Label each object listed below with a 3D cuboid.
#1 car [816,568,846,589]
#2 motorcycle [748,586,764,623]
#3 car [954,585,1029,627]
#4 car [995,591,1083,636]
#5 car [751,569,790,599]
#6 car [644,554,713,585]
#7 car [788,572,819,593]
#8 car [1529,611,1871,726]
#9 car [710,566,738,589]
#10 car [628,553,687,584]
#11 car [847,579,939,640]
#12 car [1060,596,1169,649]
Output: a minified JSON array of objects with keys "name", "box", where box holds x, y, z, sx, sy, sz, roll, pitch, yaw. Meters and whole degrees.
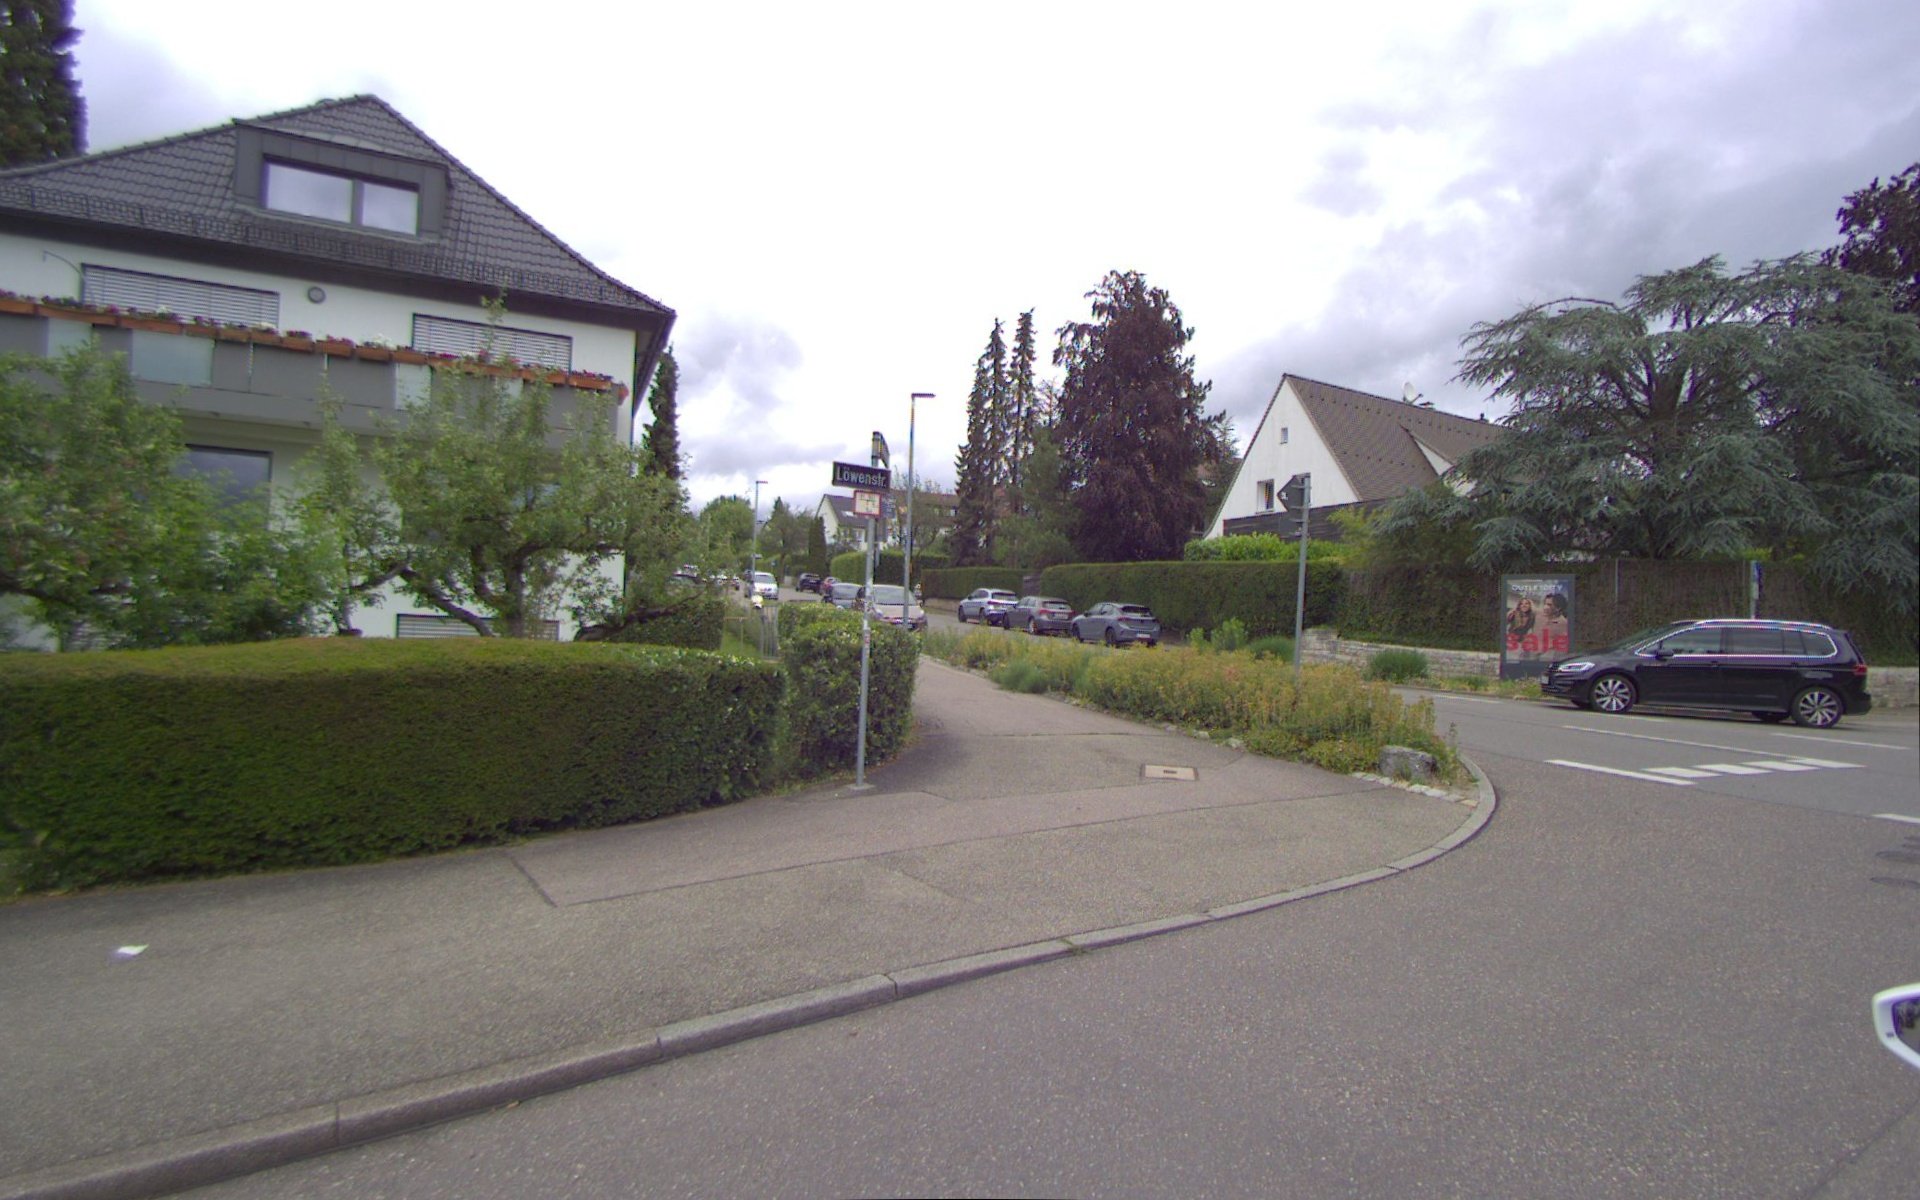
[{"name":"car","box":[-10.274,-1.706,80.109,1.640,1.528,3.742,3,1,-18]},{"name":"motorcycle","box":[-6.646,0.144,32.803,0.423,1.176,1.859,2,0,-10]},{"name":"car","box":[1.346,0.226,44.580,1.833,1.603,4.152,4,0,-20]},{"name":"car","box":[3.014,0.493,39.264,1.833,1.483,4.152,4,0,-20]},{"name":"car","box":[-11.181,-0.973,59.072,1.739,1.584,3.839,2,1,-18]},{"name":"car","box":[-19.552,-2.117,69.681,4.360,1.650,1.902,6,0,-19]},{"name":"car","box":[-13.955,-1.535,89.189,1.969,1.639,4.495,5,0,-17]},{"name":"car","box":[12.234,1.089,16.933,4.224,1.633,1.855,2,-1,15]},{"name":"car","box":[-18.697,-1.794,79.575,1.814,1.689,4.391,2,2,-17]},{"name":"car","box":[-18.879,-1.936,62.777,3.387,1.598,1.650,6,-1,-17]},{"name":"car","box":[-2.098,0.245,30.566,1.854,1.606,3.856,3,1,-18]},{"name":"car","box":[5.099,0.716,33.636,1.833,1.483,3.981,4,0,-20]}]
